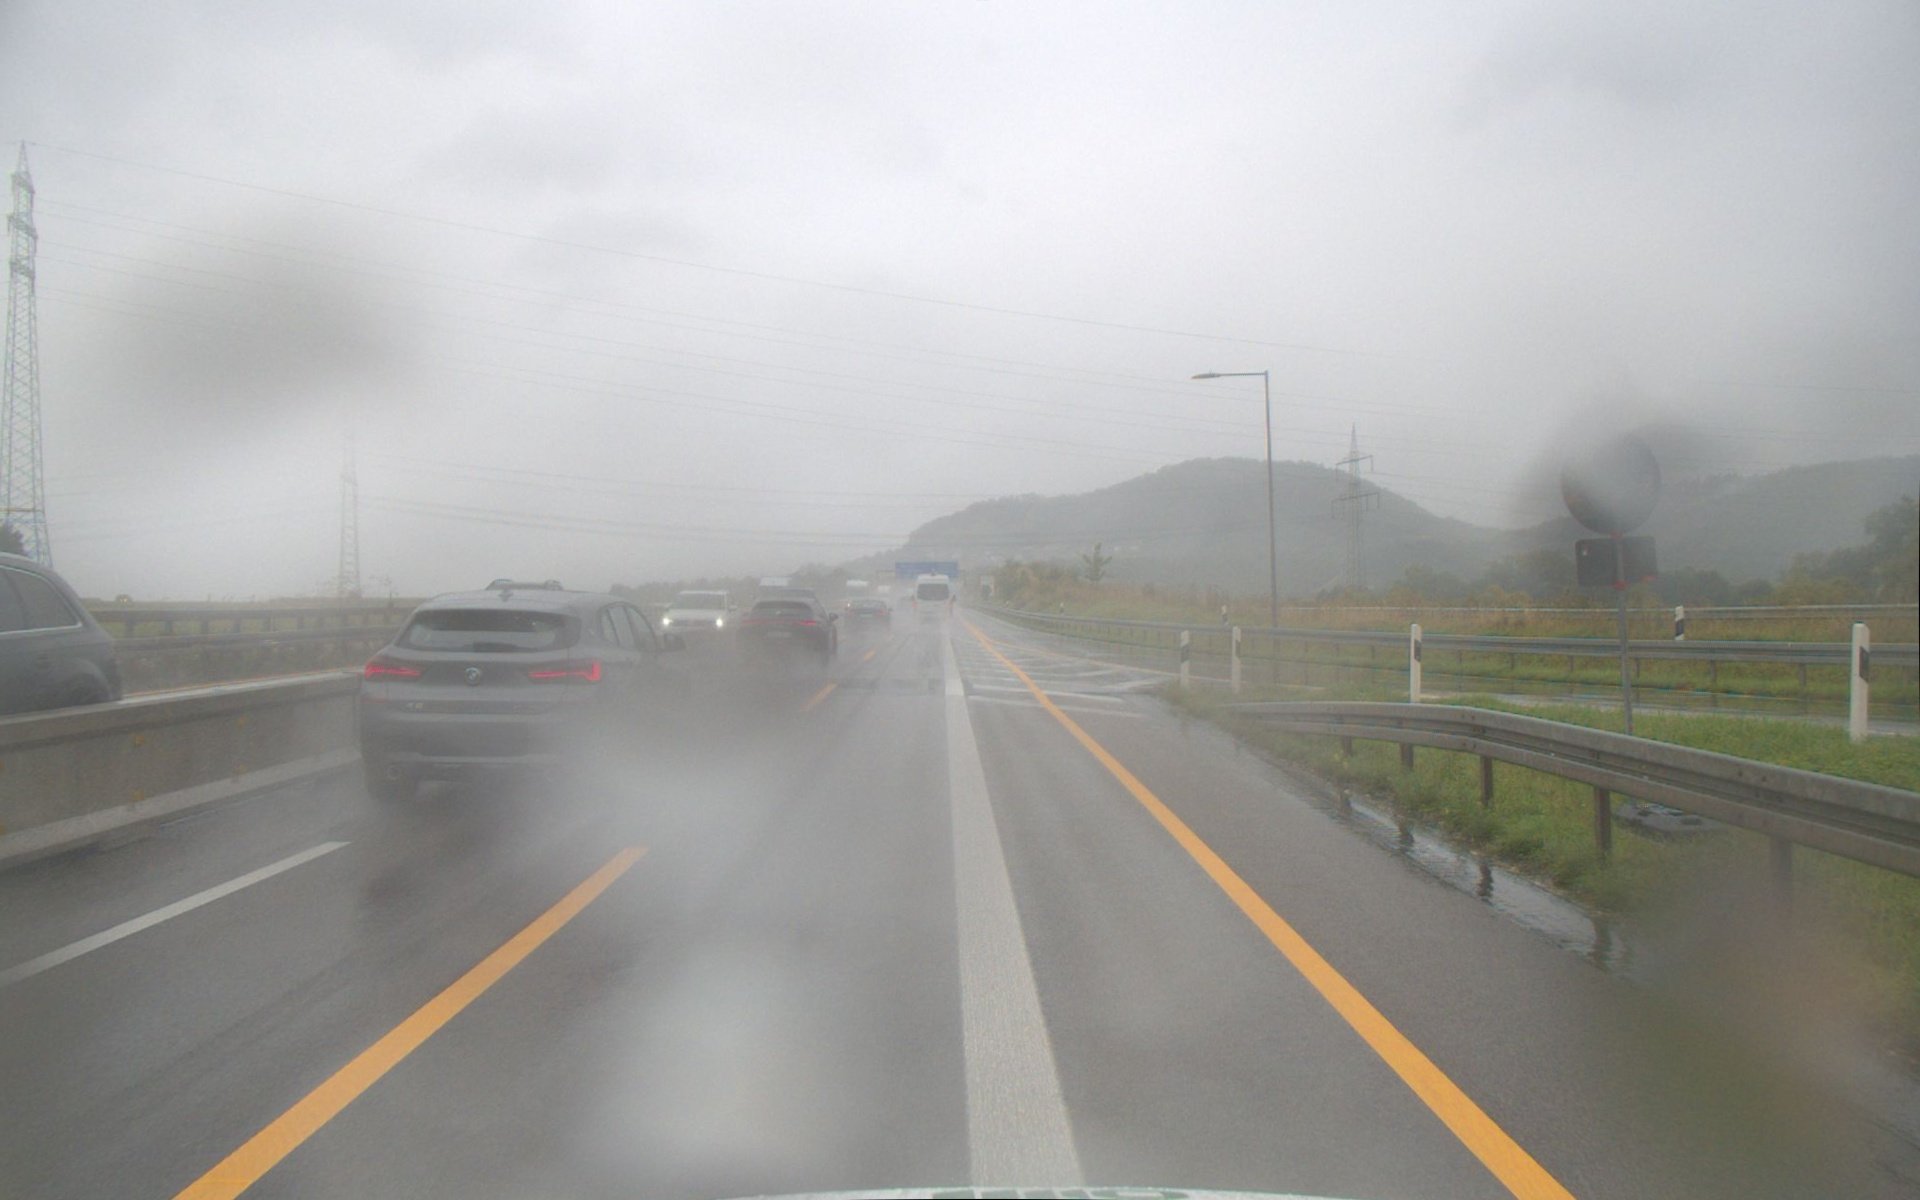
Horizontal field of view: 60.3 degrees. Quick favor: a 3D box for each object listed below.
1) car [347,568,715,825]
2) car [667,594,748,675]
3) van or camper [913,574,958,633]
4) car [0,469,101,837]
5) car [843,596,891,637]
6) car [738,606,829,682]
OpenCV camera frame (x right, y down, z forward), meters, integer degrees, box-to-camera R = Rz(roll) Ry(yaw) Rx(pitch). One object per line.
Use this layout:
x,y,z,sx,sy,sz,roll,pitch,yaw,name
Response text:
-3.108,0.676,13.043,1.666,1.626,4.844,1,-1,-1,car
-7.096,0.932,46.822,1.799,2.048,3.999,1,2,-2,car
-1.233,0.223,82.702,1.957,2.826,4.045,1,-1,-5,van or camper
-6.438,0.312,8.654,1.774,2.132,4.162,0,0,-1,car
-3.702,0.622,65.355,1.808,1.517,4.258,-2,0,-4,car
-3.732,0.937,35.488,1.808,1.517,4.257,1,-1,-5,car
